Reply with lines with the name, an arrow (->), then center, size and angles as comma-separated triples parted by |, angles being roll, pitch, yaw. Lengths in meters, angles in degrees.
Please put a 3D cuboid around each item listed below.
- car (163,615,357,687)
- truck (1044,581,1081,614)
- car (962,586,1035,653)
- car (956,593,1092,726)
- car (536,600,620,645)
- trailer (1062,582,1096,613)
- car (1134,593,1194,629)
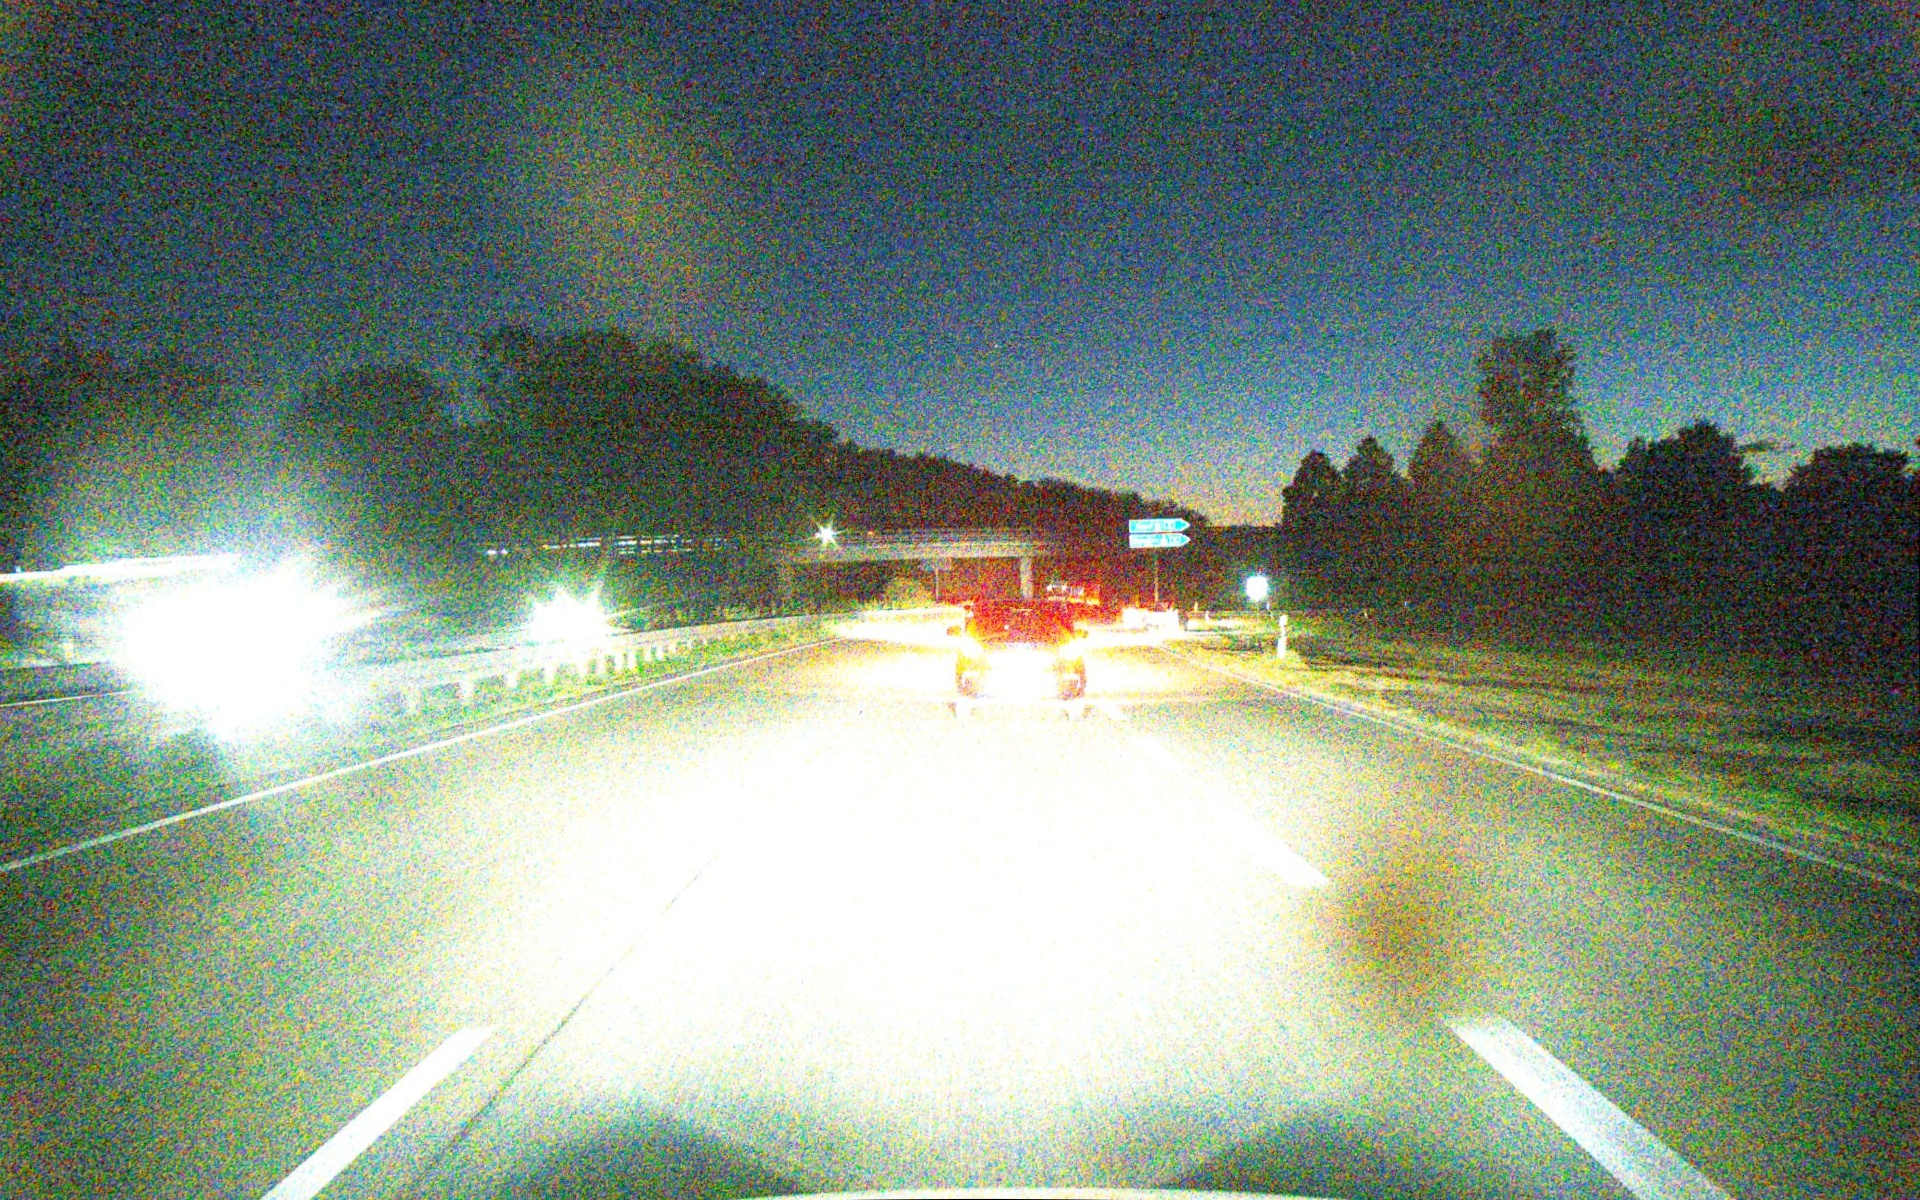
car -> -13.956, 0.979, 33.278 | 1.952, 1.293, 4.296 | 0, 0, 2
truck -> 13.208, -0.368, 211.855 | 2.624, 4.115, 10.661 | -1, 0, 15
car -> 0.991, 0.492, 44.468 | 1.867, 1.728, 4.000 | 0, 0, 0
car -> 0.743, 0.693, 21.431 | 1.556, 1.534, 4.000 | 1, 0, 0
car -> -13.837, 0.786, 60.165 | 1.952, 1.584, 4.296 | 0, 0, 2
trailer -> 15.959, -0.343, 221.271 | 2.660, 4.026, 9.053 | -1, 0, 15
car -> 10.805, 0.550, 87.346 | 1.893, 1.847, 4.261 | 0, 0, 25
